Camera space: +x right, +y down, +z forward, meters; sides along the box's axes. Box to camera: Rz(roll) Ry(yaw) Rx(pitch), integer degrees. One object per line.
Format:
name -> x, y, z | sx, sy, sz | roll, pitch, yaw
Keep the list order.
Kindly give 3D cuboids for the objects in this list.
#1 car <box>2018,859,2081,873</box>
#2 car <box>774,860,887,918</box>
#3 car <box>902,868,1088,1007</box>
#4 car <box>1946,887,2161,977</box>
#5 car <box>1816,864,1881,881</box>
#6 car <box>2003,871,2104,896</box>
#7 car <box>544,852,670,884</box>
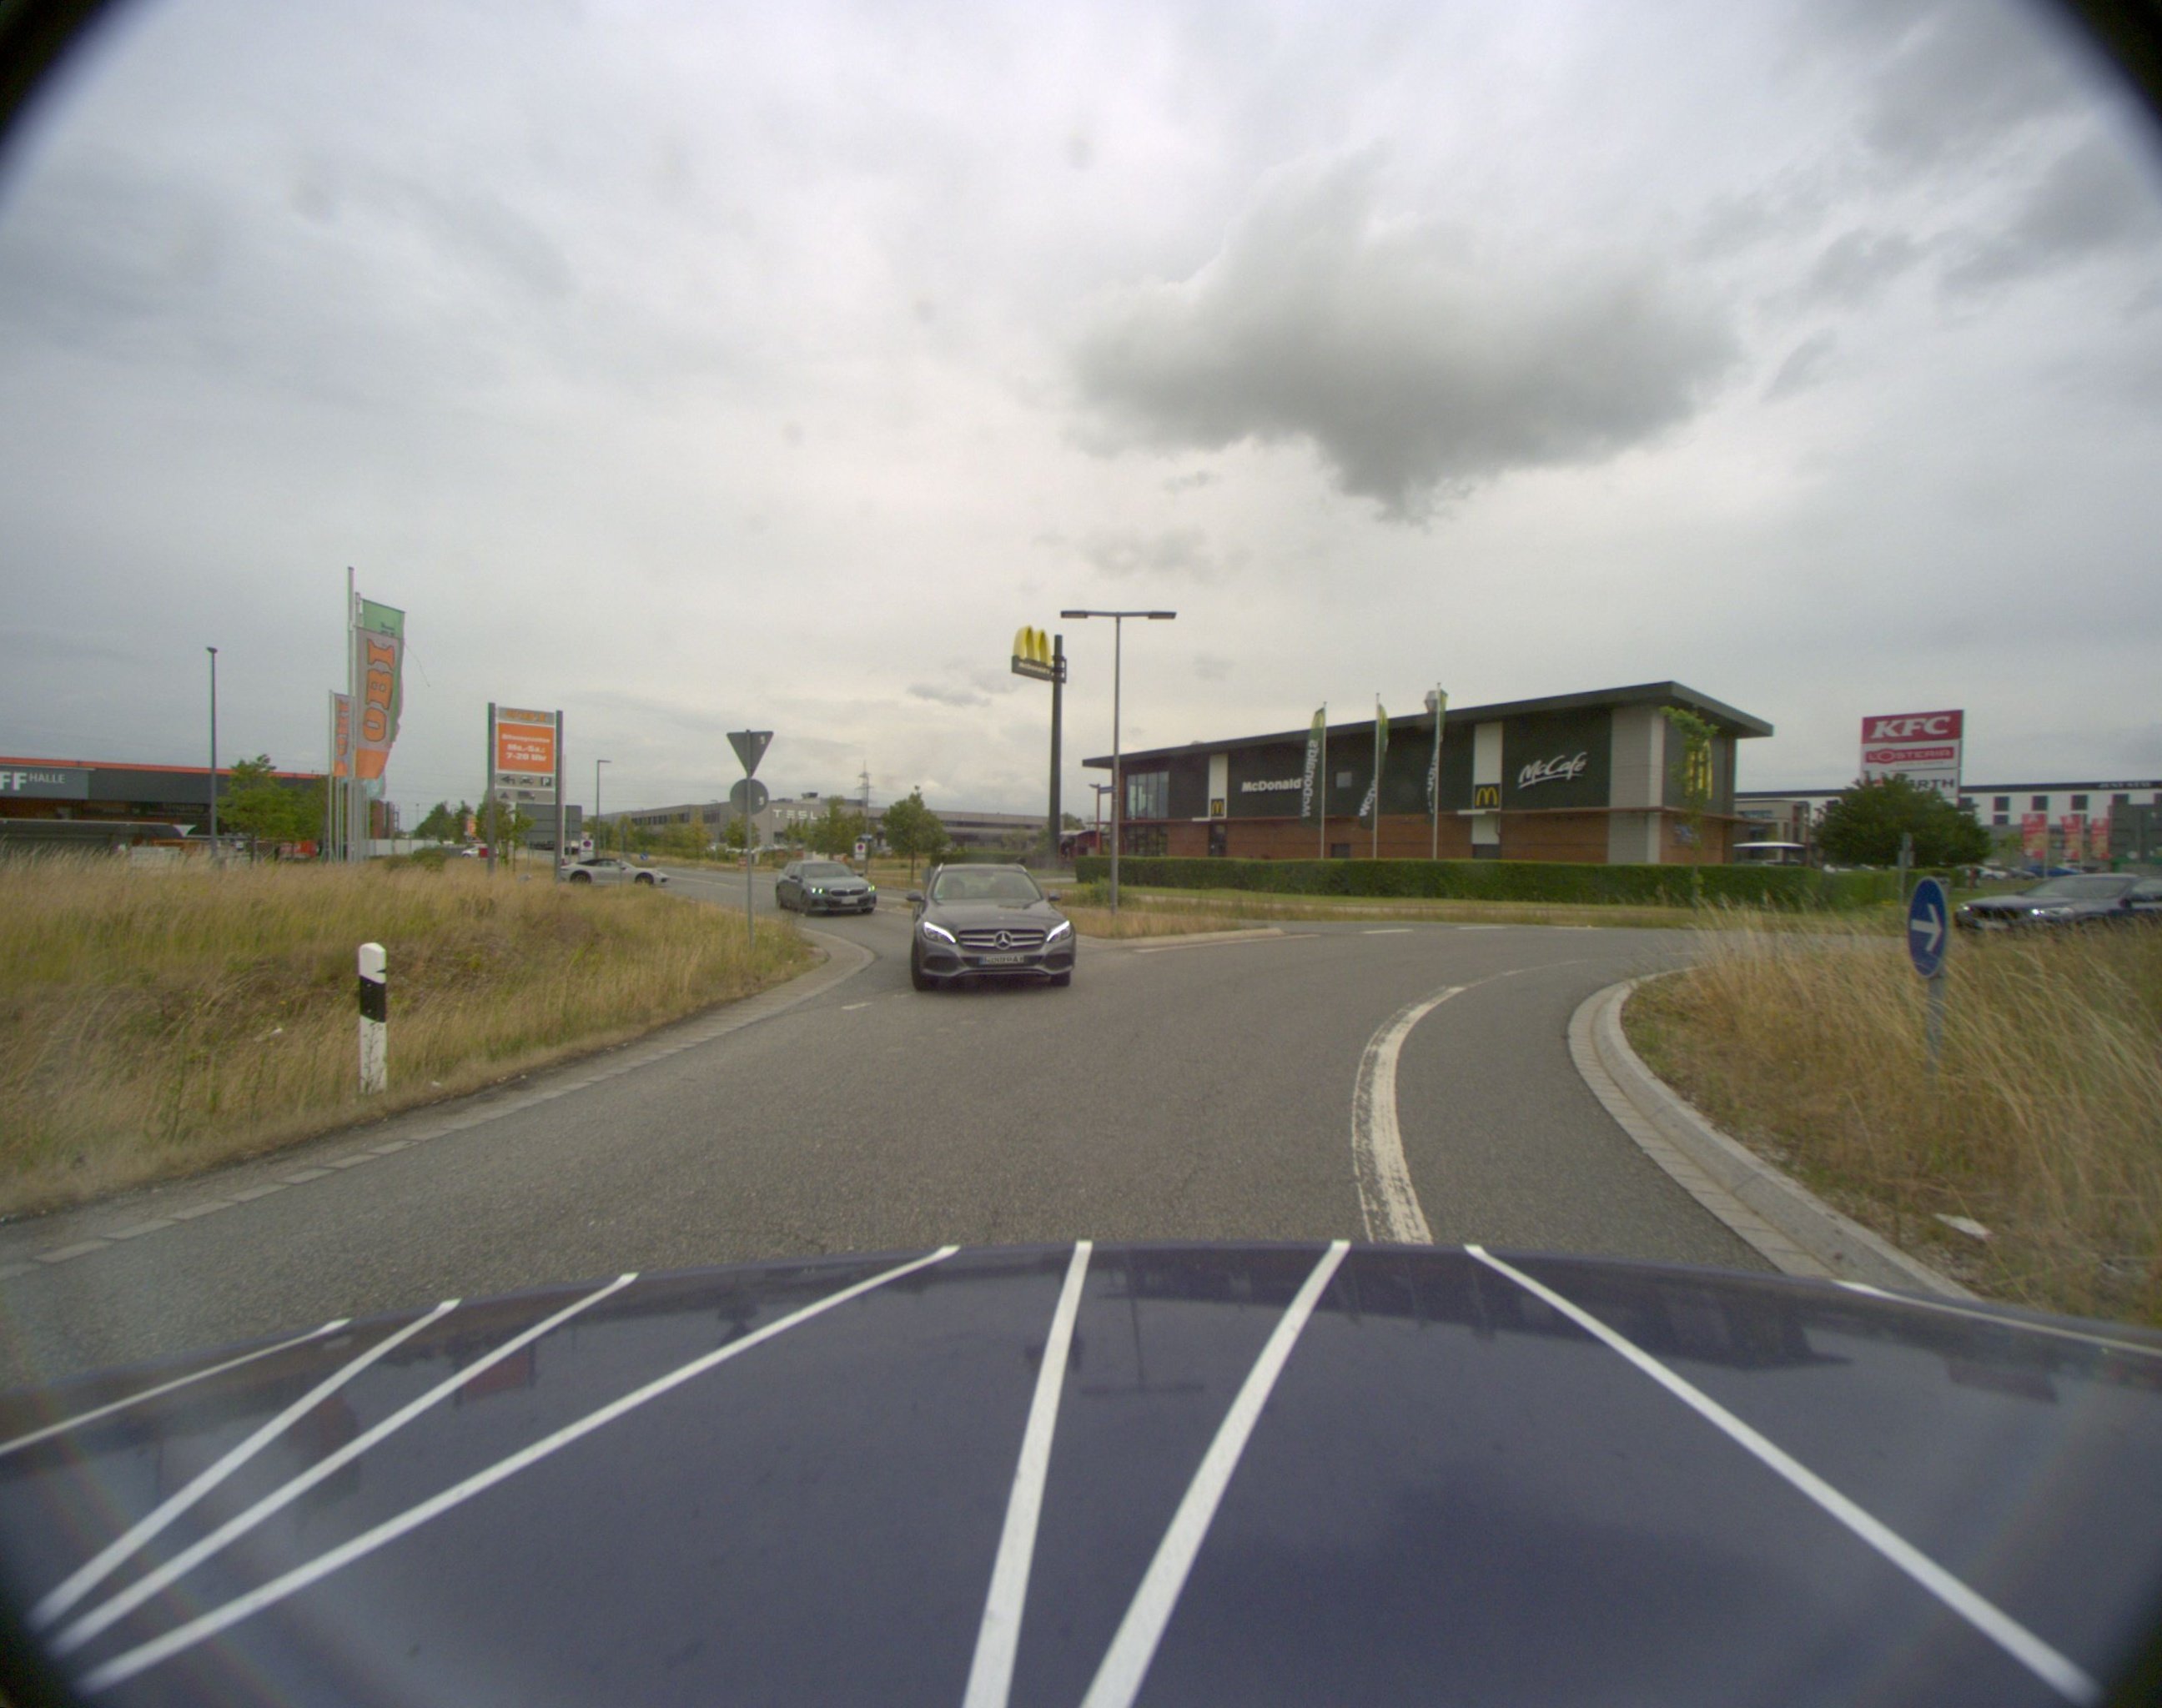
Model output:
car -> 108.107, 1.358, 84.837 | 1.849, 1.477, 3.993 | -1, 0, -21
car -> -7.540, 0.959, 22.556 | 2.003, 1.498, 4.671 | -1, 0, -34
car -> -1.316, 0.897, 10.280 | 1.929, 1.395, 4.684 | -1, -1, -11
car -> 20.711, 1.546, 15.657 | 4.000, 1.599, 1.867 | 0, 1, -7
car -> 68.113, 1.619, 67.465 | 1.851, 1.477, 3.989 | -1, 0, -42
car -> 63.792, 1.906, 49.952 | 1.851, 1.477, 3.989 | -1, 0, -42
car -> -21.434, 0.645, 34.625 | 4.766, 1.395, 1.740 | 1, -1, -29
